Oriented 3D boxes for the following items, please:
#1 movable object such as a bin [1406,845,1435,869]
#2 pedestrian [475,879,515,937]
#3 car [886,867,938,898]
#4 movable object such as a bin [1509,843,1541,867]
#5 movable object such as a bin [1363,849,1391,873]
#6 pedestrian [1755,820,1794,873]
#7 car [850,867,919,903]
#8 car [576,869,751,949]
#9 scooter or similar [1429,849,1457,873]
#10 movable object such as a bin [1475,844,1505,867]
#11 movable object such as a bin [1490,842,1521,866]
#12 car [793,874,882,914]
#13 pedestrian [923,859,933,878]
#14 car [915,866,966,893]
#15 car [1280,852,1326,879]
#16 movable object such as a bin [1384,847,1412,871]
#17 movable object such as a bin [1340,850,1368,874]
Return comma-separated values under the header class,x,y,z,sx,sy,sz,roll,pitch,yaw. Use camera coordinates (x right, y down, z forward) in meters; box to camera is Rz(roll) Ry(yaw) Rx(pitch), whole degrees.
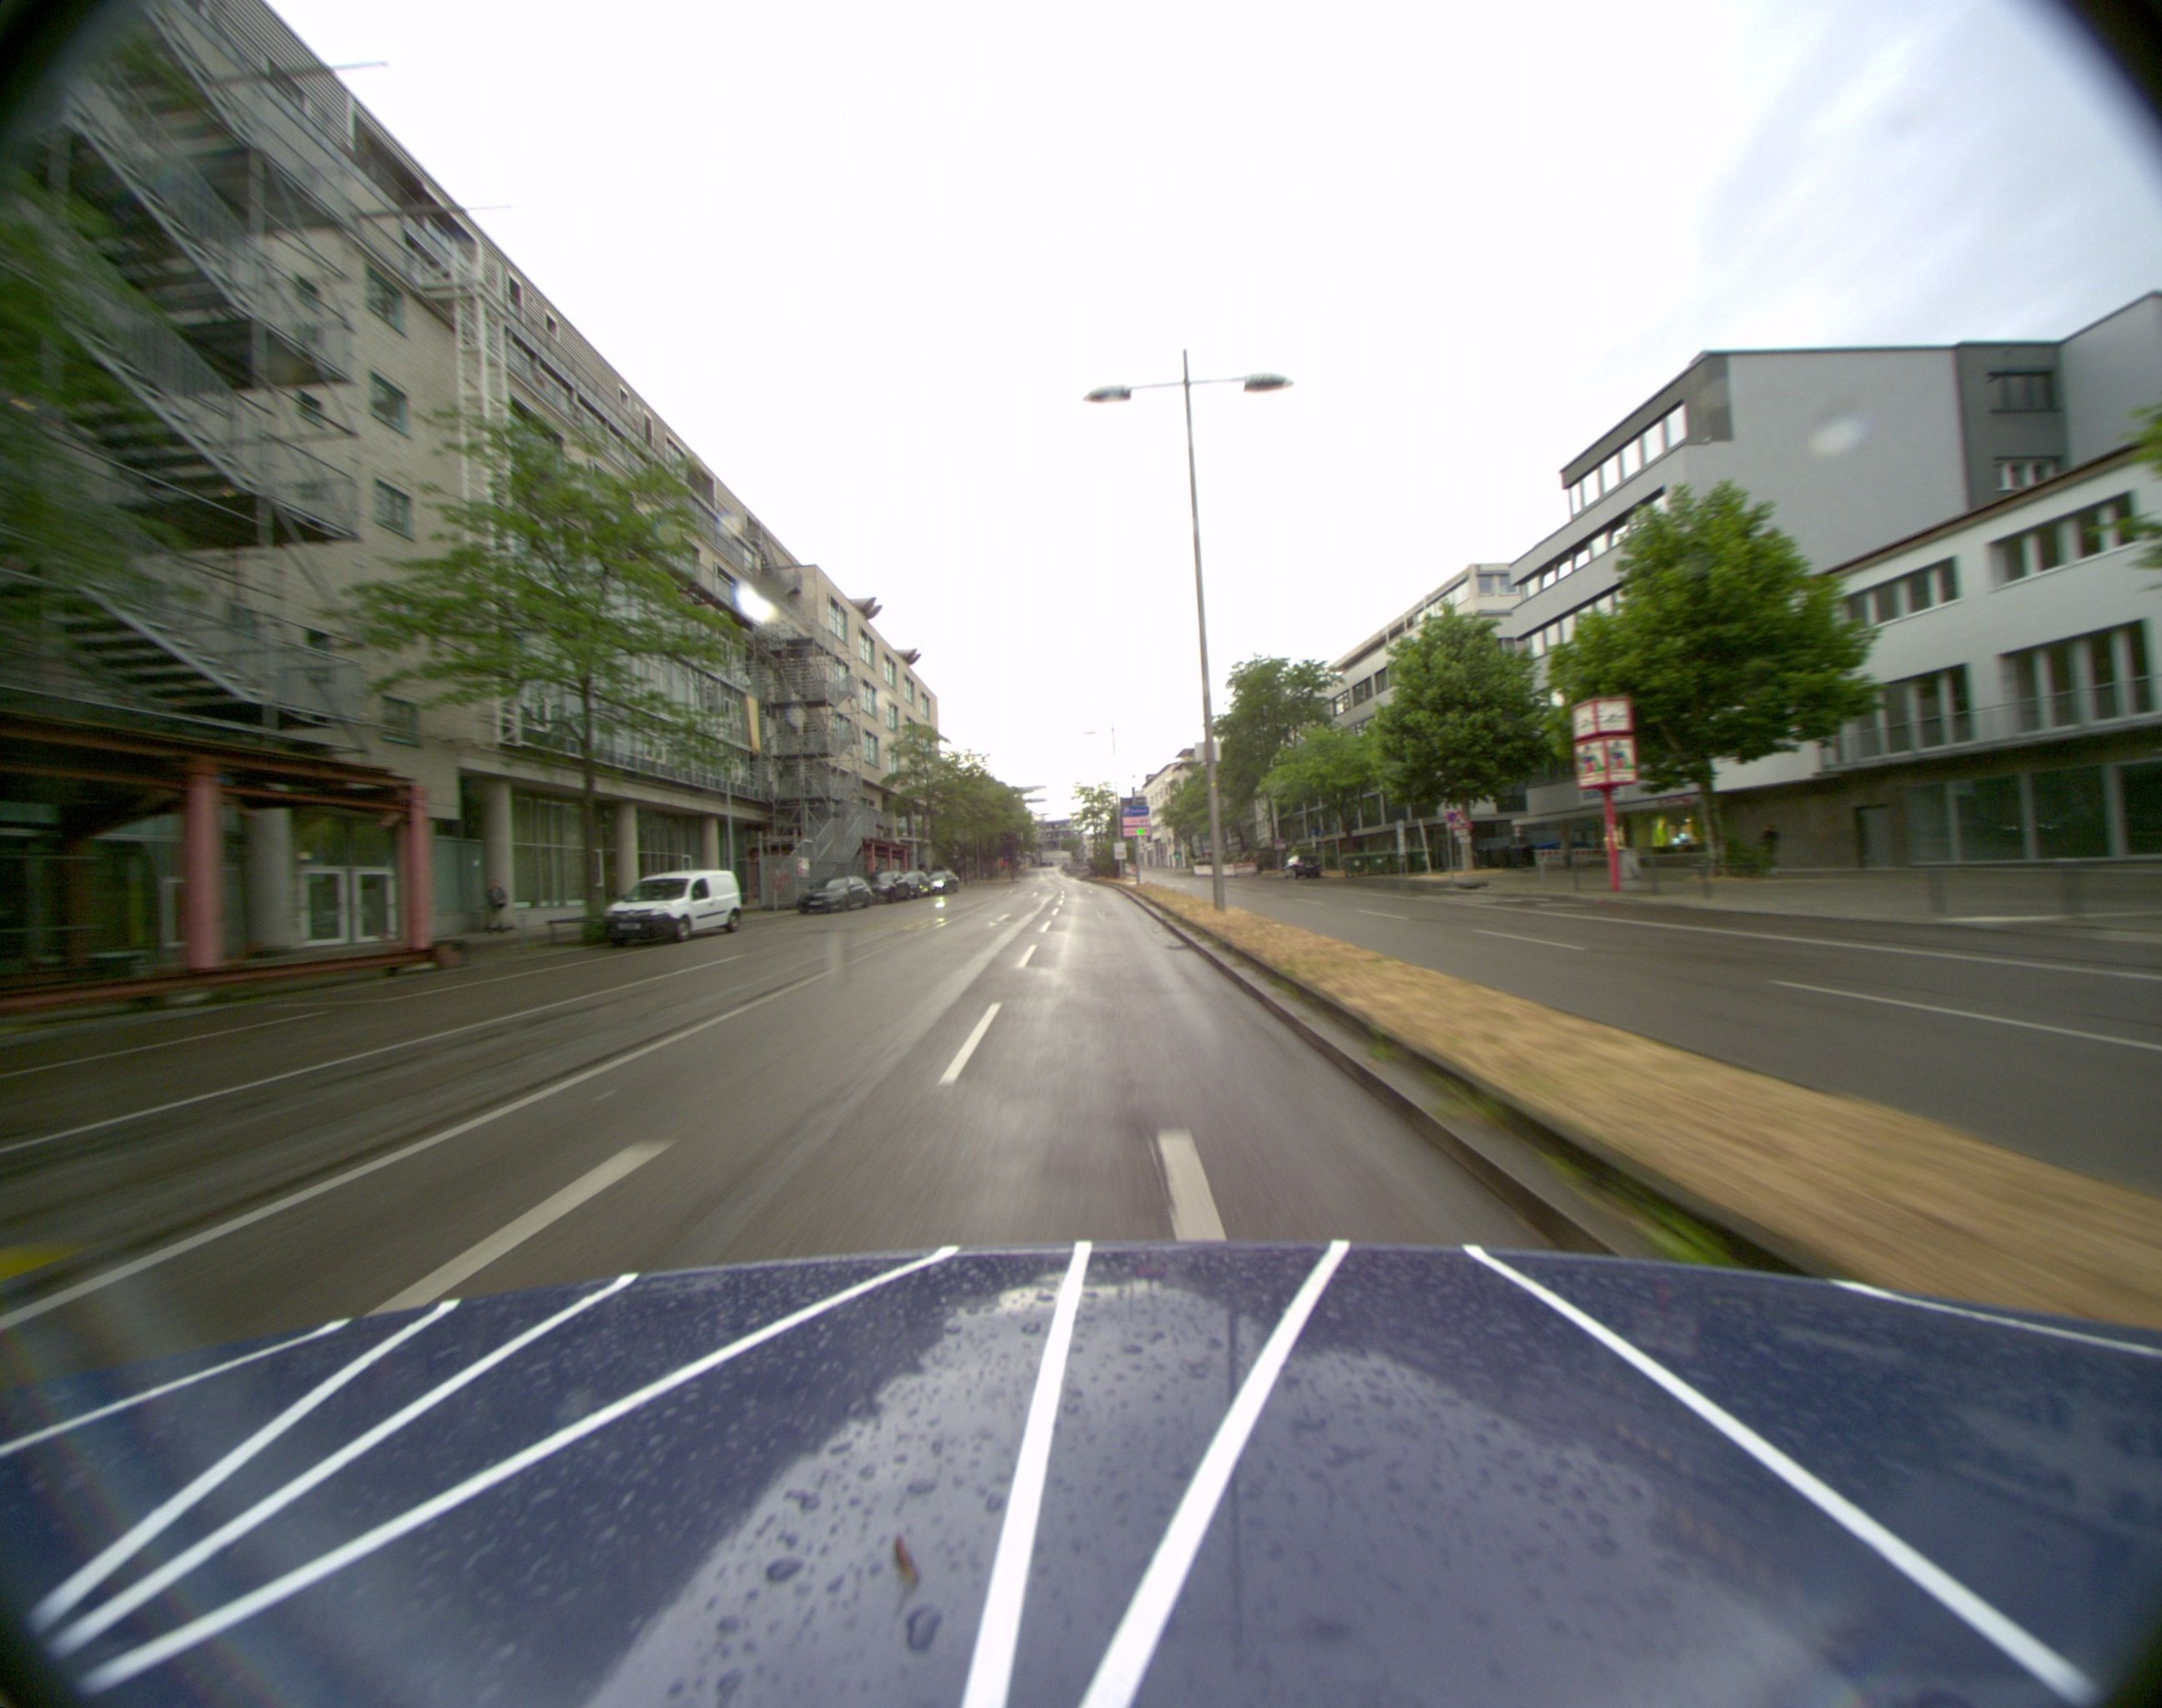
class,x,y,z,sx,sy,sz,roll,pitch,yaw
movable object such as a bin,21.445,0.185,48.065,1.281,1.479,1.089,-3,0,0
pedestrian,-18.301,1.679,23.731,0.677,1.732,0.653,-2,0,3
car,-9.692,1.582,43.846,1.866,1.591,4.593,-2,-1,1
movable object such as a bin,26.984,0.064,46.166,1.088,1.427,1.281,-3,0,-9
movable object such as a bin,18.702,0.445,48.045,1.281,1.418,1.089,-3,0,0
pedestrian,23.601,-0.245,25.863,0.698,1.752,0.653,-2,0,3
car,-9.835,1.513,38.471,1.998,1.636,4.864,-2,-1,3
car,-10.694,1.333,19.932,1.998,1.739,4.527,-2,-1,1
scooter or similar,19.379,0.388,40.718,0.777,1.114,1.324,-5,-3,2
movable object such as a bin,26.389,0.078,49.084,1.088,1.427,1.281,-3,0,-9
movable object such as a bin,26.577,0.004,47.546,1.088,1.427,1.281,-3,0,-9
car,-10.023,1.599,31.677,1.873,1.429,4.922,-2,-1,3
pedestrian,-16.587,1.579,82.267,0.871,2.002,0.758,-3,0,-4
car,-9.099,1.627,49.766,1.998,1.591,5.291,-2,-1,4
car,14.985,0.754,51.475,1.783,1.626,4.023,-2,0,-2
movable object such as a bin,20.052,0.312,48.072,1.281,1.418,1.089,-3,0,0
movable object such as a bin,17.261,0.493,48.043,1.362,1.418,1.089,-3,0,0
